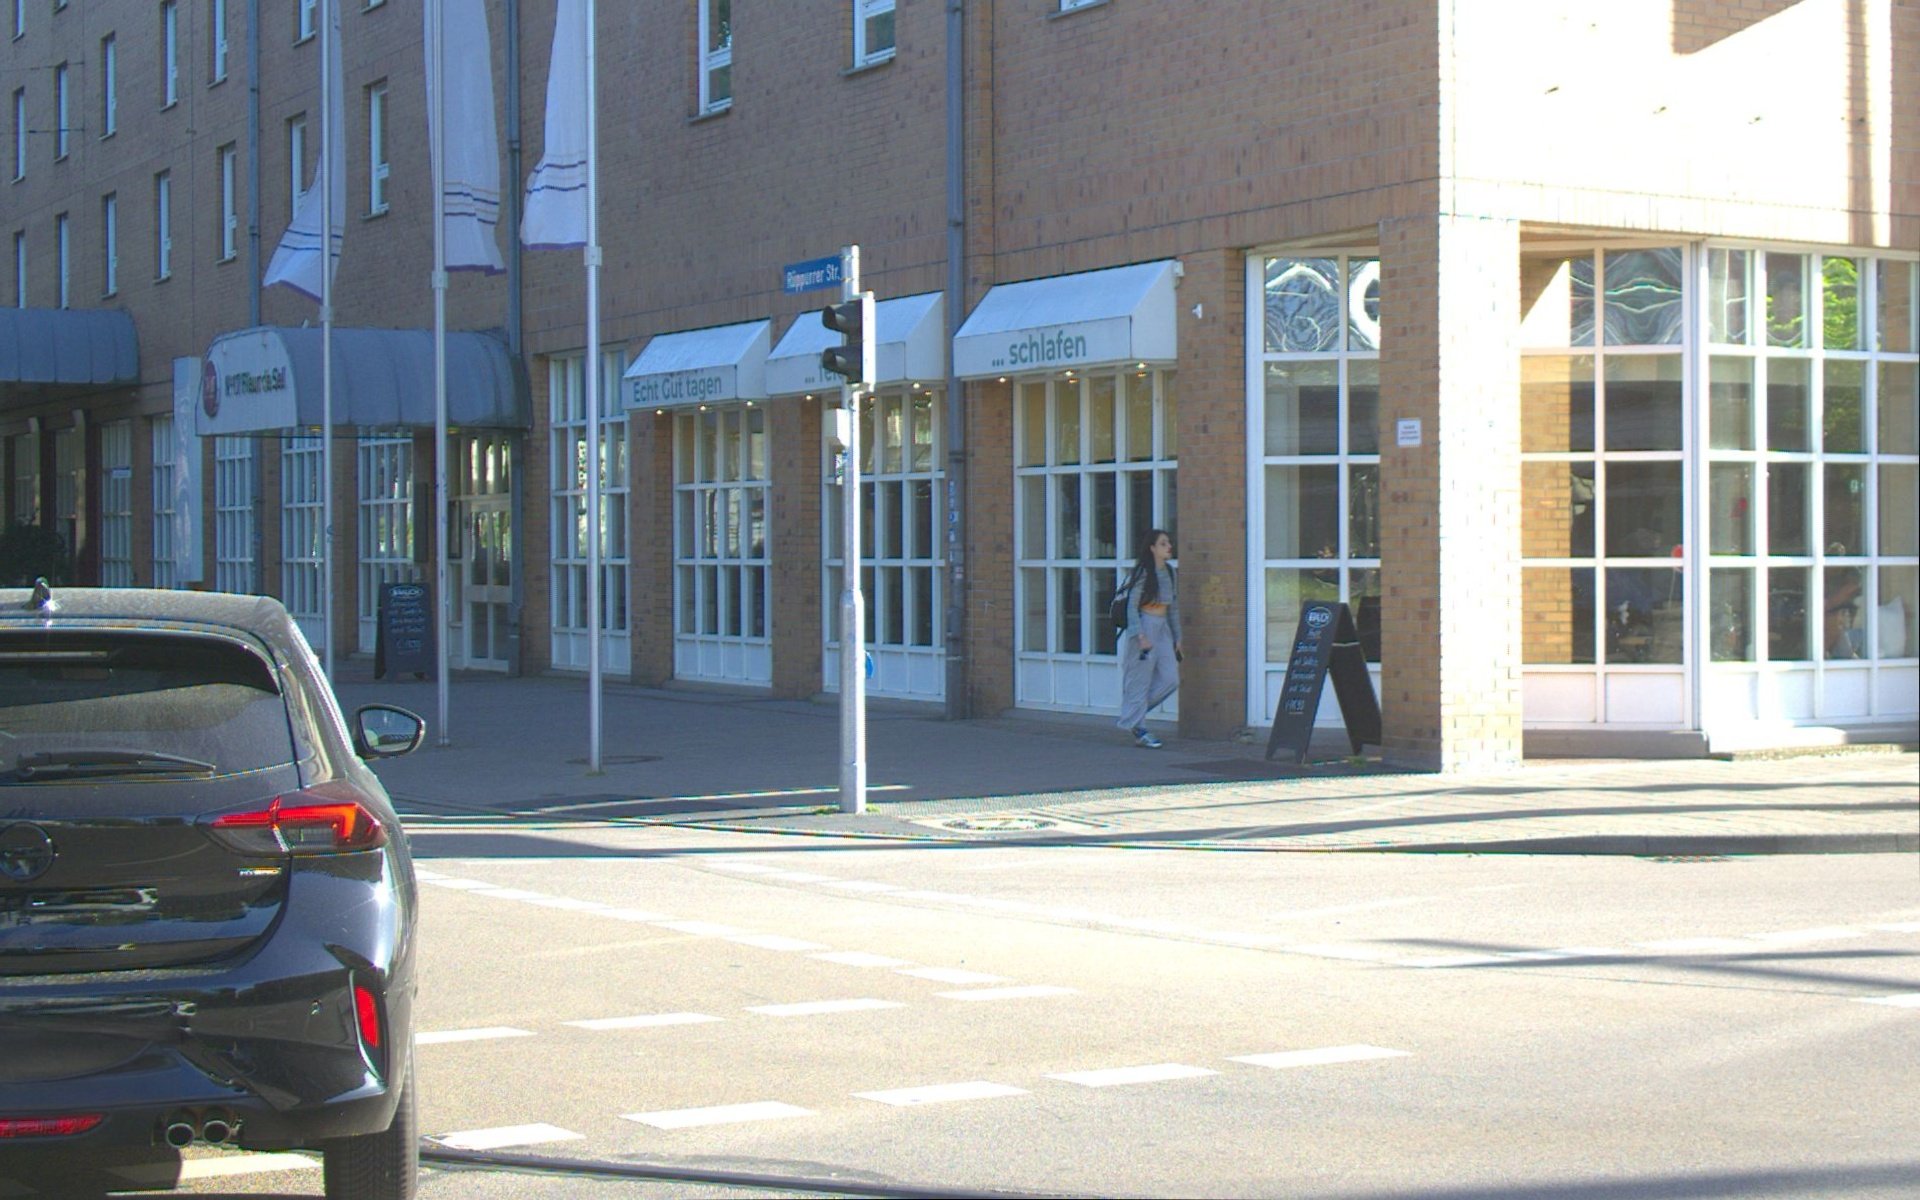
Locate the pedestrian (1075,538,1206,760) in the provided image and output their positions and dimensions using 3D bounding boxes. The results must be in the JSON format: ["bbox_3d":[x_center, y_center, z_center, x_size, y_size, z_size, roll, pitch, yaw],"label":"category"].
[{"bbox_3d":[1.381,0.361,26.365,0.738,1.660,0.753,-1,1,-22],"label":"pedestrian"}]

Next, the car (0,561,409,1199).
[{"bbox_3d":[-2.279,0.662,8.859,1.671,1.496,3.691,-1,1,-9],"label":"car"}]
